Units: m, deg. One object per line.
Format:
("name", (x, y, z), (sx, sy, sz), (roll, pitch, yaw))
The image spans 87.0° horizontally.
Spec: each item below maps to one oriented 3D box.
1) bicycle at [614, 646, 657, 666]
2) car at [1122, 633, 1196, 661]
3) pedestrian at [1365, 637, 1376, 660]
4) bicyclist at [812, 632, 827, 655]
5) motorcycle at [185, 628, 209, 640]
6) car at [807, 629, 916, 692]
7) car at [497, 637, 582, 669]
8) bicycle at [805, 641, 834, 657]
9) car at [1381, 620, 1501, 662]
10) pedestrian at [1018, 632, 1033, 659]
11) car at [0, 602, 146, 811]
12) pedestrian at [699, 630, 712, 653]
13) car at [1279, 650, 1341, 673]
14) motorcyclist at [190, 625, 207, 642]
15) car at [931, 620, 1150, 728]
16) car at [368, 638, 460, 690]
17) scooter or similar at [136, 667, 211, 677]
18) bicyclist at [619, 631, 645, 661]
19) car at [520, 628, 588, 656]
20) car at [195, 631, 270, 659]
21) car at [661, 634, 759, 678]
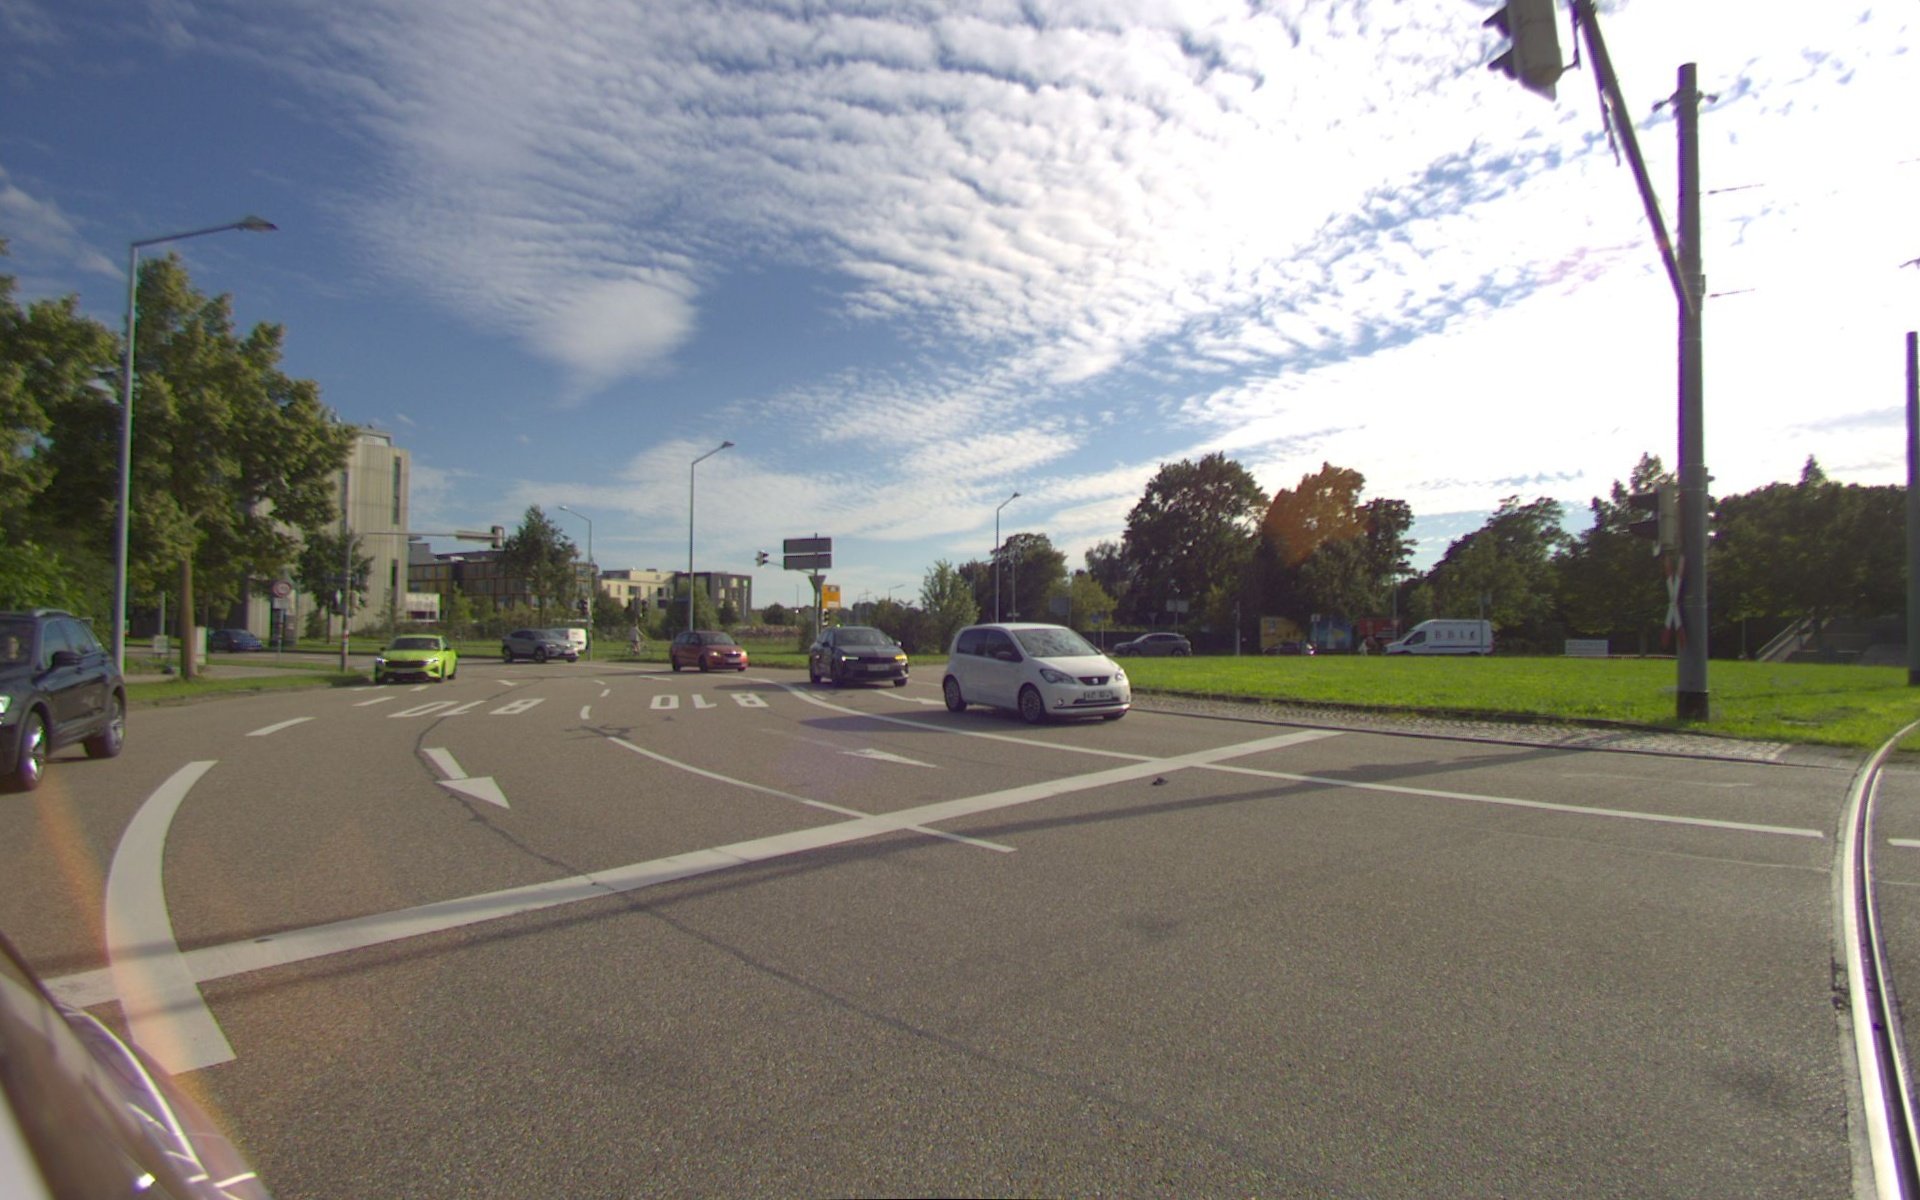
("bicycle", (-16.844, 2.881, 52.538), (0.999, 1.015, 1.938), (-1, -3, 34))
("car", (11.610, 2.782, 59.111), (3.936, 1.513, 1.686), (1, -4, -2))
("pedestrian", (29.776, 3.506, 73.477), (0.538, 1.637, 0.507), (1, -2, -20))
("bicyclist", (-8.970, 2.782, 64.695), (0.687, 1.457, 0.611), (3, -4, -43))
("motorcycle", (-63.631, 2.828, 84.386), (2.014, 0.994, 0.777), (-1, -3, 28))
("car", (-2.574, 1.480, 25.403), (1.793, 1.431, 4.460), (0, -2, -18))
("car", (-19.931, 2.479, 47.884), (4.215, 1.486, 1.675), (-1, -3, 34))
("bicycle", (-8.995, 3.144, 64.661), (1.810, 0.996, 0.611), (2, -3, -44))
("car", (27.984, 2.390, 59.103), (5.957, 2.281, 2.059), (0, -4, 10))
("pedestrian", (4.785, 3.294, 74.149), (0.860, 1.931, 0.890), (-1, 0, 22))
("car", (-9.837, 0.901, 10.085), (1.841, 1.708, 5.030), (2, -2, -29))
("pedestrian", (-18.623, 3.047, 73.954), (0.656, 1.642, 0.622), (-1, -1, 32))
("car", (24.563, 4.309, 71.173), (1.657, 1.513, 4.005), (3, -5, -31))
("motorcyclist", (-63.480, 2.789, 84.384), (0.939, 1.376, 0.777), (-1, -3, 29))
("car", (1.128, 1.093, 15.901), (1.736, 1.475, 3.671), (1, -2, -28))
("car", (-16.700, 1.933, 31.174), (1.864, 1.431, 4.622), (0, -3, -20))
("scooter or similar", (-26.254, 2.407, 33.827), (1.277, 0.283, 1.550), (0, -2, 6))
("bicyclist", (-16.973, 2.370, 52.372), (0.995, 1.568, 0.855), (-1, -3, 35))
("car", (-27.206, 2.811, 67.783), (4.539, 1.839, 1.670), (-1, -4, 28))
("car", (-46.511, 2.829, 64.707), (4.781, 1.674, 1.981), (0, -2, 28))
("car", (-9.105, 2.026, 36.657), (1.669, 1.486, 4.232), (1, -3, -42))
